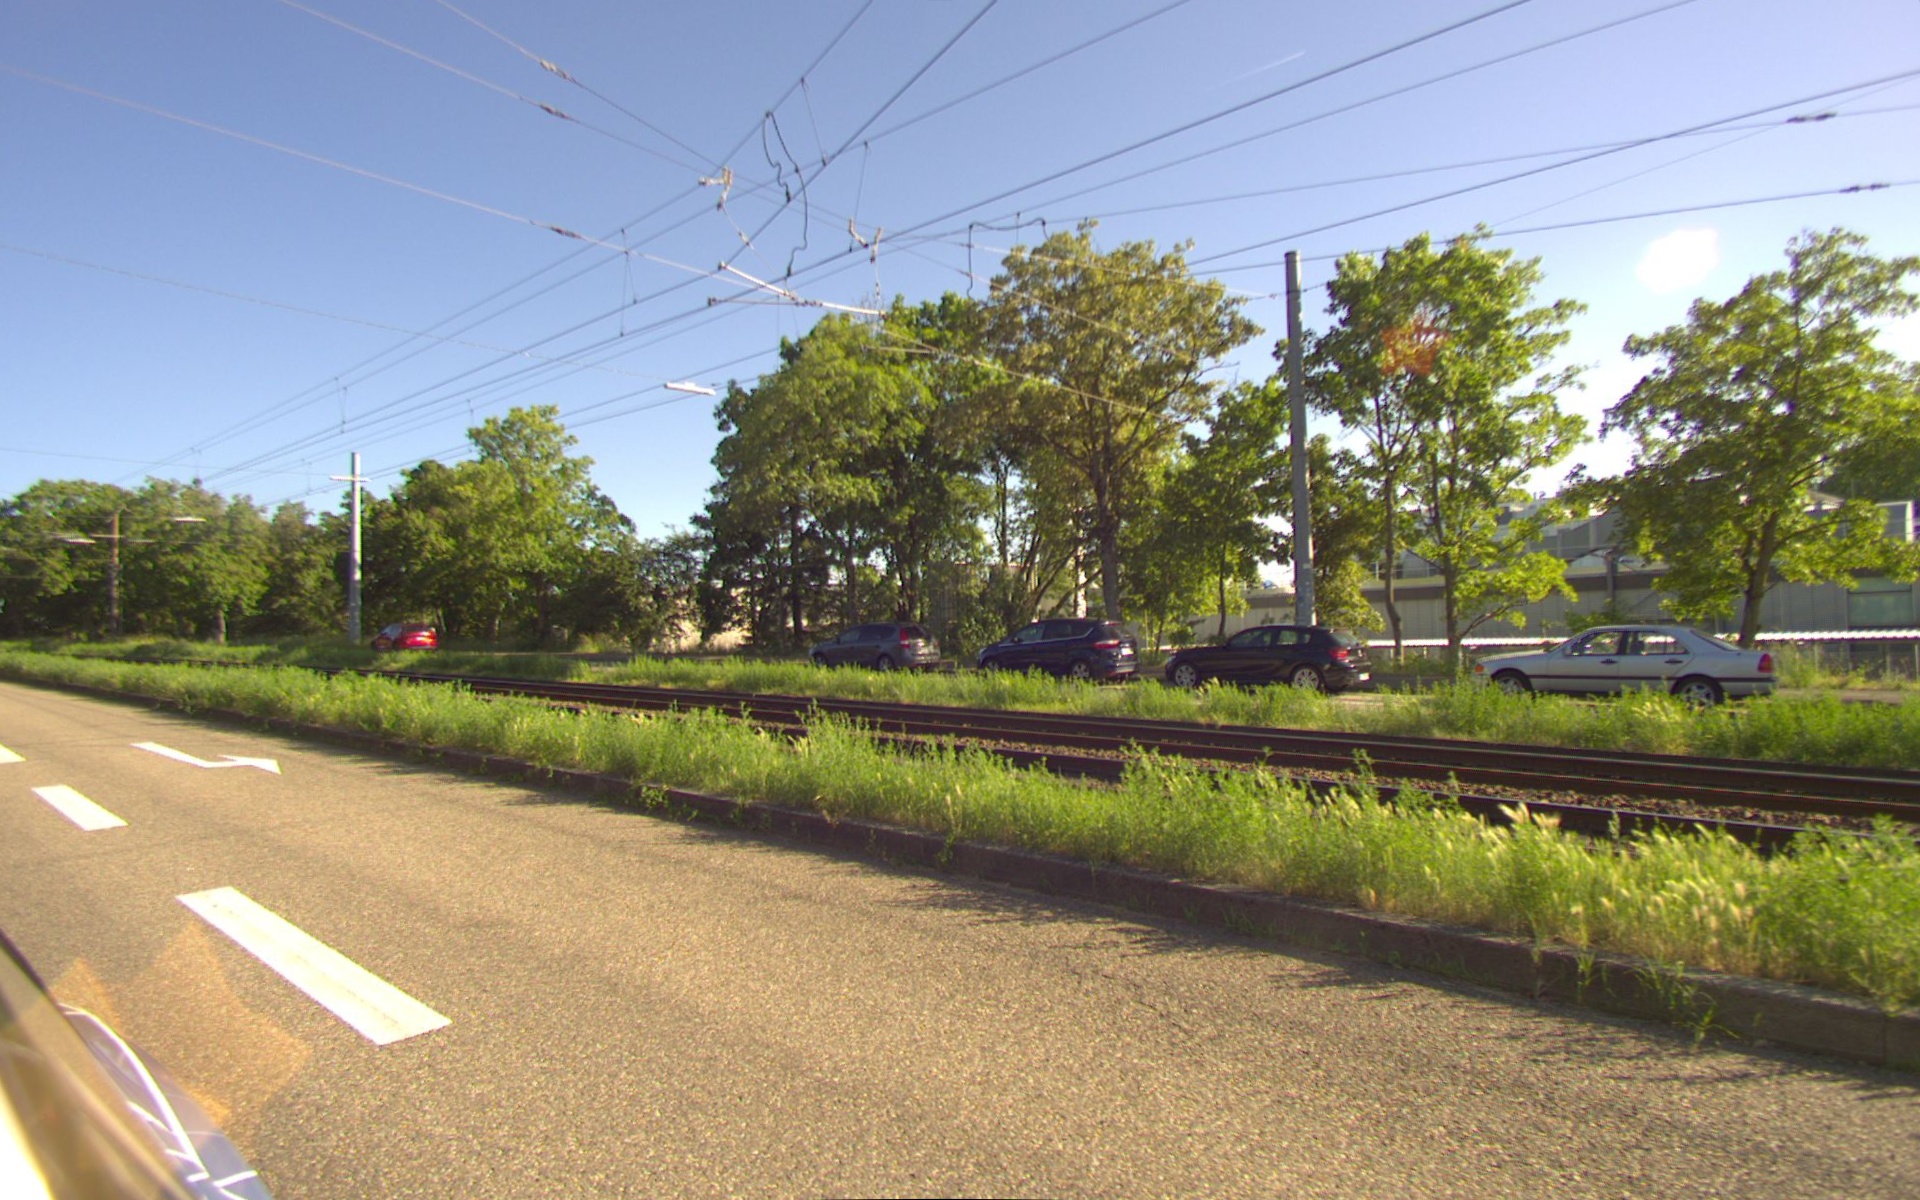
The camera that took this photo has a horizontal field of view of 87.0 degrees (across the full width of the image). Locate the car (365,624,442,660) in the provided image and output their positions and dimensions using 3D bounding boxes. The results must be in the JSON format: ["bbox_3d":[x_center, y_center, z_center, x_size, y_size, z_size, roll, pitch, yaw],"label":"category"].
[{"bbox_3d":[-28.356,2.116,51.473,4.463,1.715,1.984,-2,-2,40],"label":"car"}]

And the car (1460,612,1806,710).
[{"bbox_3d":[11.350,0.981,17.294,4.693,1.448,1.908,-2,-2,42],"label":"car"}]

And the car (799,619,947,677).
[{"bbox_3d":[-2.599,1.361,29.485,4.324,1.505,1.718,-2,0,40],"label":"car"}]

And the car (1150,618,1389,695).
[{"bbox_3d":[6.469,1.161,21.464,4.413,1.448,1.972,-2,-2,42],"label":"car"}]

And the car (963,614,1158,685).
[{"bbox_3d":[2.414,1.204,24.967,4.431,1.586,1.973,-2,-2,40],"label":"car"}]
